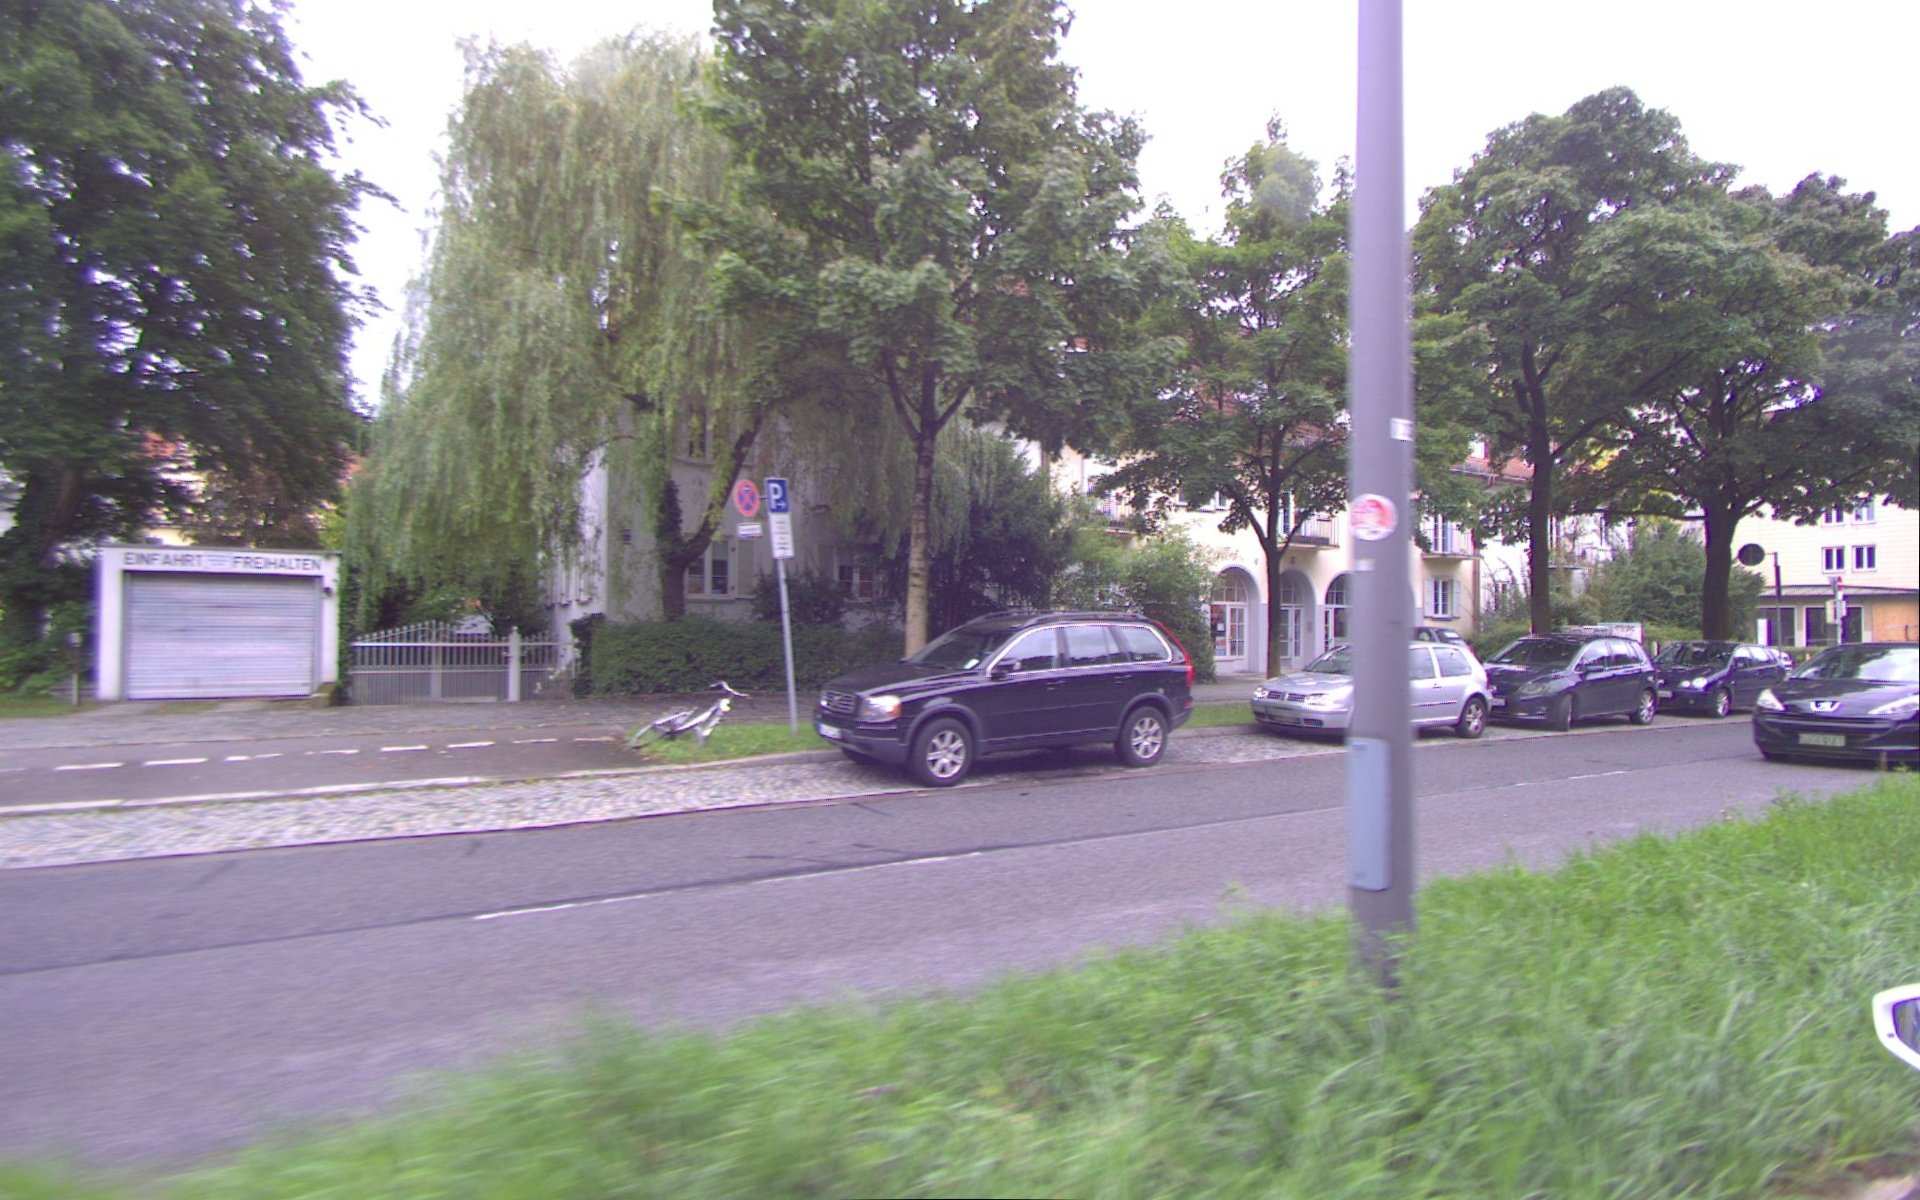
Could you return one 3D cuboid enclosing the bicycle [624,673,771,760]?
[{"bbox_3d":[-3.197,1.370,12.165,1.387,0.840,1.445,1,0,-30],"label":"bicycle"}]

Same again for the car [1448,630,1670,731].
[{"bbox_3d":[10.639,1.341,17.758,4.252,1.583,1.657,1,-2,-33],"label":"car"}]

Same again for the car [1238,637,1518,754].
[{"bbox_3d":[6.408,1.345,15.264,4.324,1.464,1.658,1,1,-31],"label":"car"}]

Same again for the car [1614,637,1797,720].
[{"bbox_3d":[15.333,1.551,20.628,3.790,1.469,1.557,1,1,-29],"label":"car"}]

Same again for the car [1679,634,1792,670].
[{"bbox_3d":[35.786,2.364,46.430,1.655,1.583,3.839,2,-2,-36],"label":"car"}]

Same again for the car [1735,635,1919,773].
[{"bbox_3d":[11.526,1.173,12.477,4.058,1.461,1.728,1,-2,-33],"label":"car"}]

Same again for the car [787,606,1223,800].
[{"bbox_3d":[0.669,1.020,11.704,5.006,1.787,1.784,1,1,-35],"label":"car"}]

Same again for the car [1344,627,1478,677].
[{"bbox_3d":[14.298,1.613,32.012,1.653,1.481,3.613,1,-2,-32],"label":"car"}]
